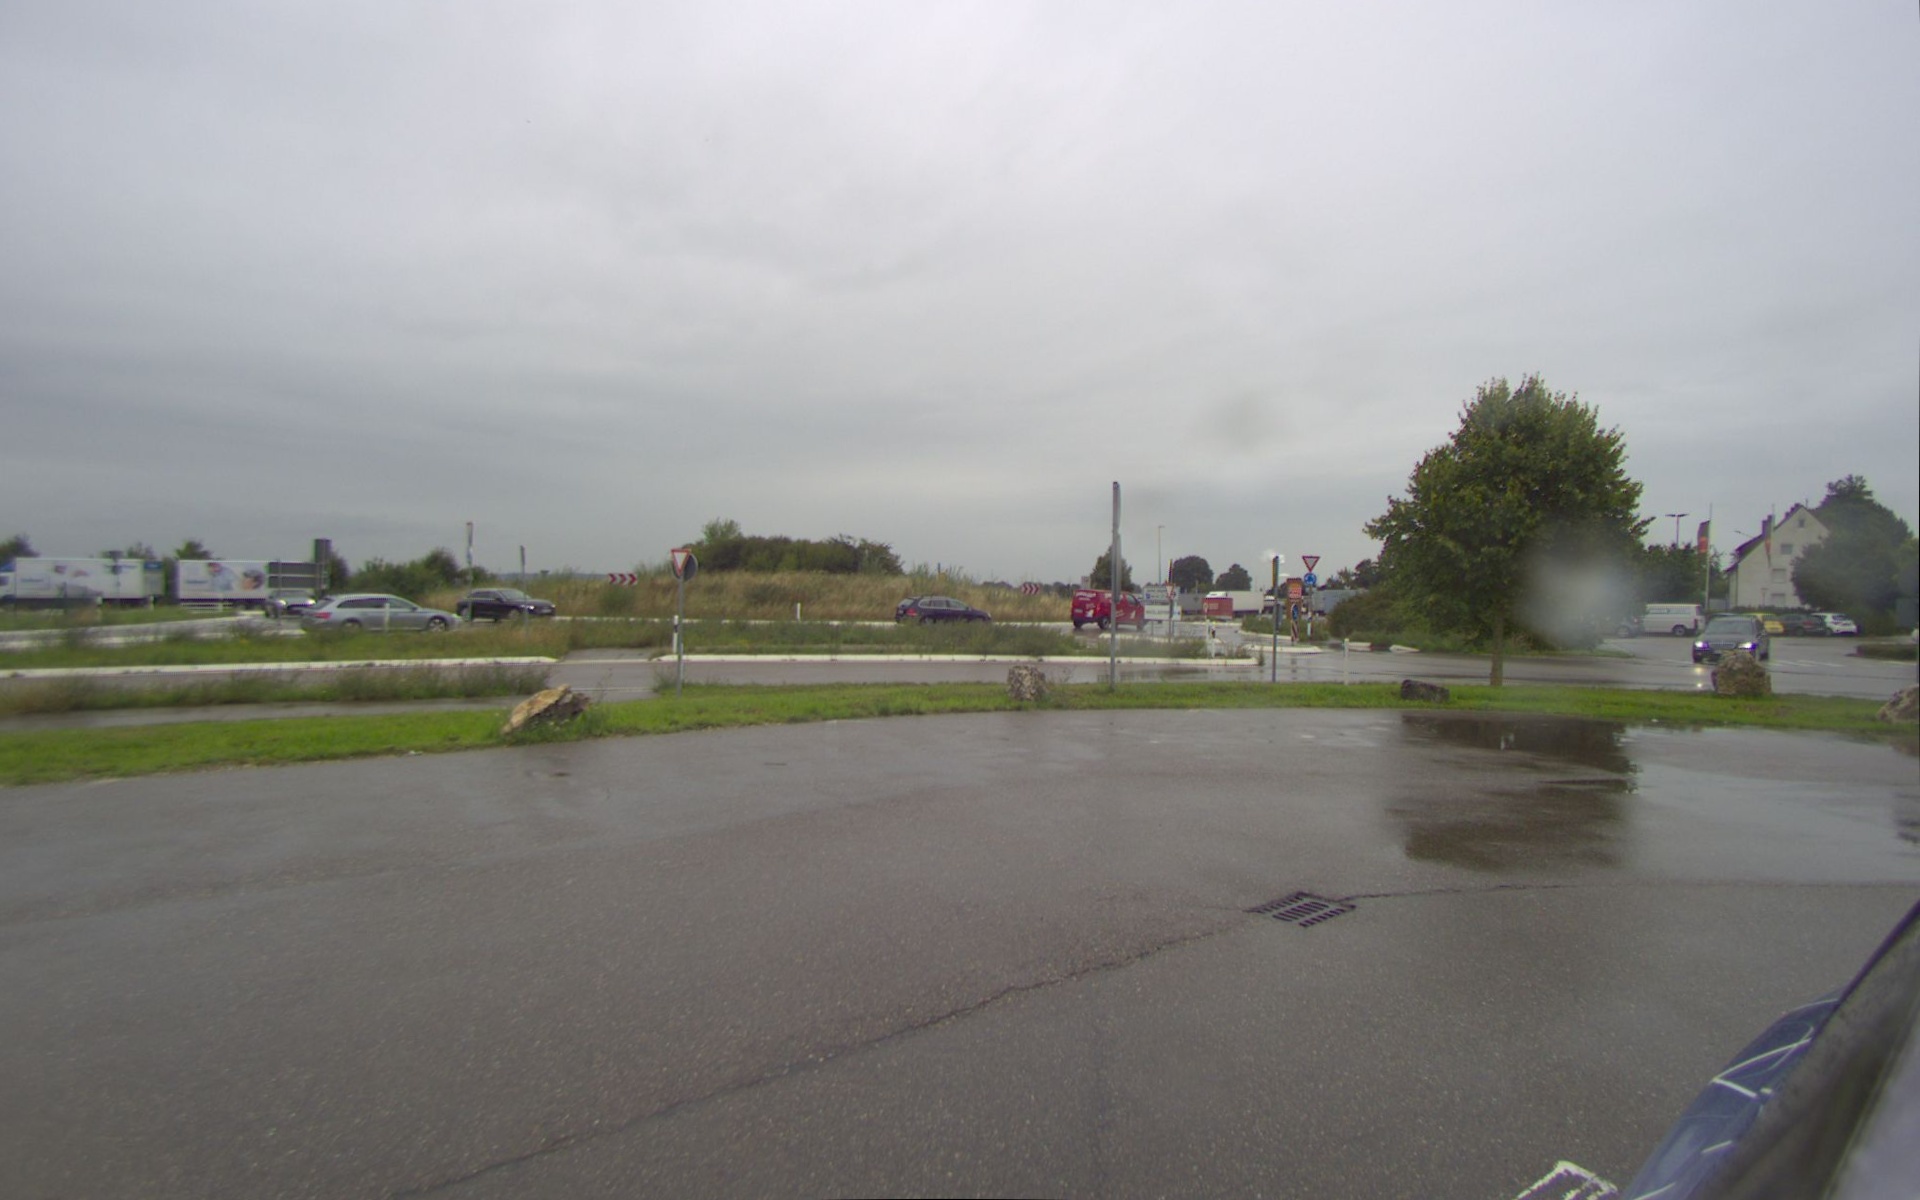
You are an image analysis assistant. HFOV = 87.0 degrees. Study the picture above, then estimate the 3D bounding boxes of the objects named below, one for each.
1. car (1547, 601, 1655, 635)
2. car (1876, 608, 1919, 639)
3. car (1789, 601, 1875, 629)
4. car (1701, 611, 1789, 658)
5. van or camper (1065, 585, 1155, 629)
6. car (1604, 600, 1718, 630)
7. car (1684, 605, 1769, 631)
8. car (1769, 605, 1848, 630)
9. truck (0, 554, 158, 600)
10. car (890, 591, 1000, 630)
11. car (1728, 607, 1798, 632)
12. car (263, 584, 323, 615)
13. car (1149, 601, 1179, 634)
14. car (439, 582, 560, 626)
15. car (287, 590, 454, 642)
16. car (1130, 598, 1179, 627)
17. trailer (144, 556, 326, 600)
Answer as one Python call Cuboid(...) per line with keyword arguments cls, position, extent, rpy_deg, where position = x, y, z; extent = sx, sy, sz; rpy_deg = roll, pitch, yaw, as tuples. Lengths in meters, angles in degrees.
Cuboid(cls="car", position=(34.792, 0.964, 54.992), extent=(1.965, 1.744, 4.601), rpy_deg=(1, -1, -41))
Cuboid(cls="car", position=(47.338, 1.170, 48.970), extent=(1.819, 1.443, 4.352), rpy_deg=(1, 0, -42))
Cuboid(cls="car", position=(56.354, 0.932, 65.488), extent=(1.951, 1.750, 4.001), rpy_deg=(1, -1, -2))
Cuboid(cls="car", position=(26.797, 1.124, 34.484), extent=(4.287, 1.443, 1.702), rpy_deg=(0, -1, -43))
Cuboid(cls="van or camper", position=(7.641, 0.326, 51.252), extent=(1.995, 2.038, 4.769), rpy_deg=(4, 2, 44))
Cuboid(cls="car", position=(42.406, 0.893, 61.299), extent=(1.965, 1.744, 5.368), rpy_deg=(1, -1, -41))
Cuboid(cls="car", position=(49.118, 1.152, 64.962), extent=(1.962, 1.570, 4.646), rpy_deg=(0, -1, 1))
Cuboid(cls="car", position=(54.267, 1.099, 64.807), extent=(1.716, 1.590, 3.889), rpy_deg=(1, -1, -2))
Cuboid(cls="truck", position=(-57.994, -1.456, 66.770), extent=(7.627, 2.945, 2.188), rpy_deg=(0, -1, -18))
Cuboid(cls="car", position=(-0.636, 0.444, 44.474), extent=(4.435, 1.623, 2.001), rpy_deg=(0, 0, -31))
Cuboid(cls="car", position=(51.626, 1.250, 65.151), extent=(1.636, 1.569, 3.722), rpy_deg=(0, -1, 3))
Cuboid(cls="car", position=(-34.203, -0.052, 51.835), extent=(4.298, 1.340, 1.729), rpy_deg=(4, 4, 45))
Cuboid(cls="car", position=(14.727, 1.221, 72.887), extent=(1.970, 2.038, 3.986), rpy_deg=(2, 3, 13))
Cuboid(cls="car", position=(-20.045, 0.152, 44.124), extent=(4.593, 1.704, 1.888), rpy_deg=(1, 2, 9))
Cuboid(cls="car", position=(-20.141, 0.486, 34.756), extent=(1.987, 1.499, 4.607), rpy_deg=(3, 3, 34))
Cuboid(cls="car", position=(14.086, 0.885, 73.376), extent=(1.958, 2.039, 4.007), rpy_deg=(0, -1, -14))
Cuboid(cls="trailer", position=(-49.611, -1.448, 69.571), extent=(9.929, 2.939, 2.211), rpy_deg=(0, -1, -19))
